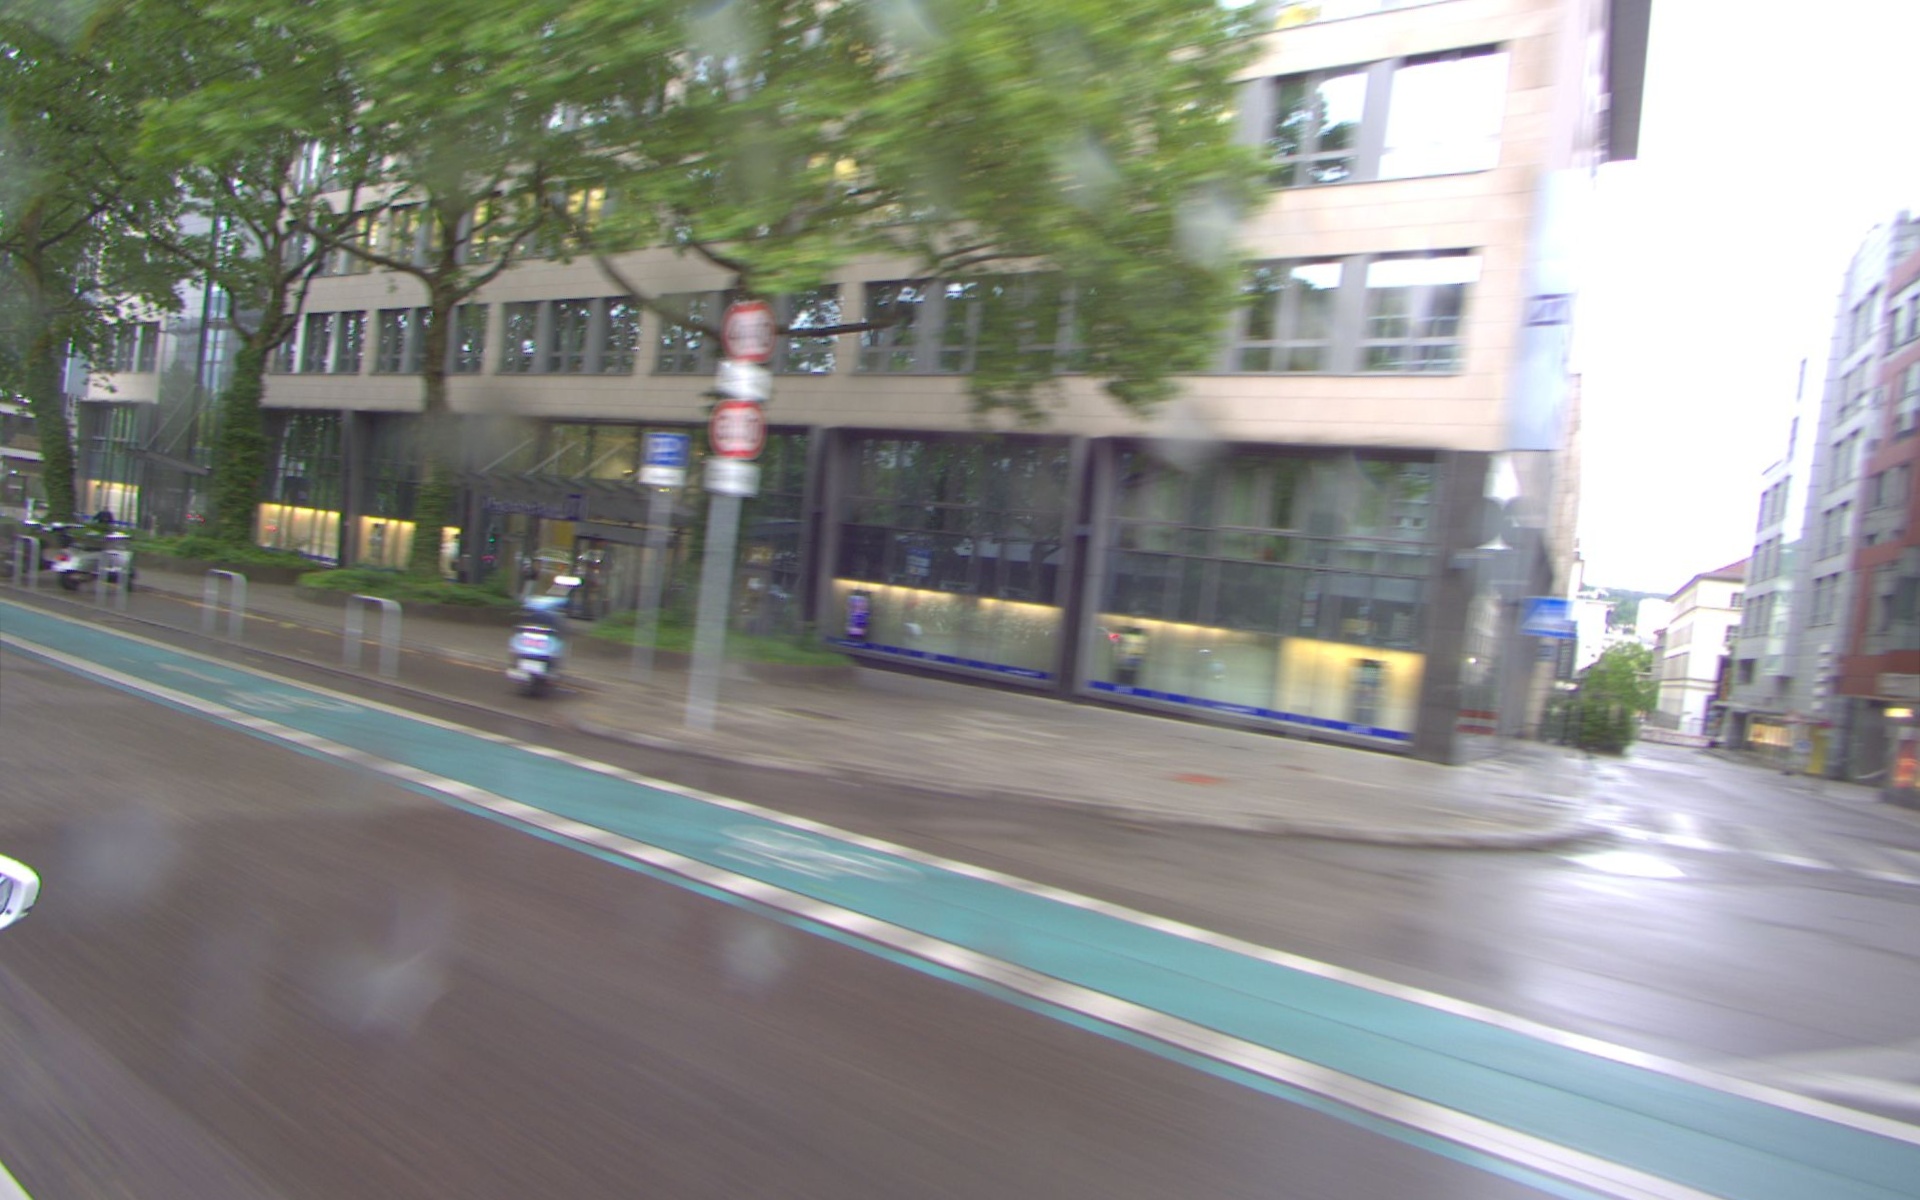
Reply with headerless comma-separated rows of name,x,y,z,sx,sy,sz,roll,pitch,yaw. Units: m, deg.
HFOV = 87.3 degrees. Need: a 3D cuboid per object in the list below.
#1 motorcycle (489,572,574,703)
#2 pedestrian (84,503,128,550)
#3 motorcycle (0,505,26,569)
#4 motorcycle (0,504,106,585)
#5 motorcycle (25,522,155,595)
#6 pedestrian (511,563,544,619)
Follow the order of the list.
motorcycle,-5.106,0.404,12.092,0.674,1.385,1.937,4,2,-18
pedestrian,-37.397,-3.230,44.054,1.255,1.871,0.919,6,-2,31
motorcycle,-21.950,-1.460,22.096,0.715,1.391,1.962,8,1,10
motorcycle,-18.268,-1.090,19.862,0.715,1.446,2.060,8,1,10
motorcycle,-16.227,-0.751,18.847,0.672,1.228,2.058,5,1,-4
pedestrian,-14.043,-0.312,32.665,0.718,1.714,0.825,7,1,-16
